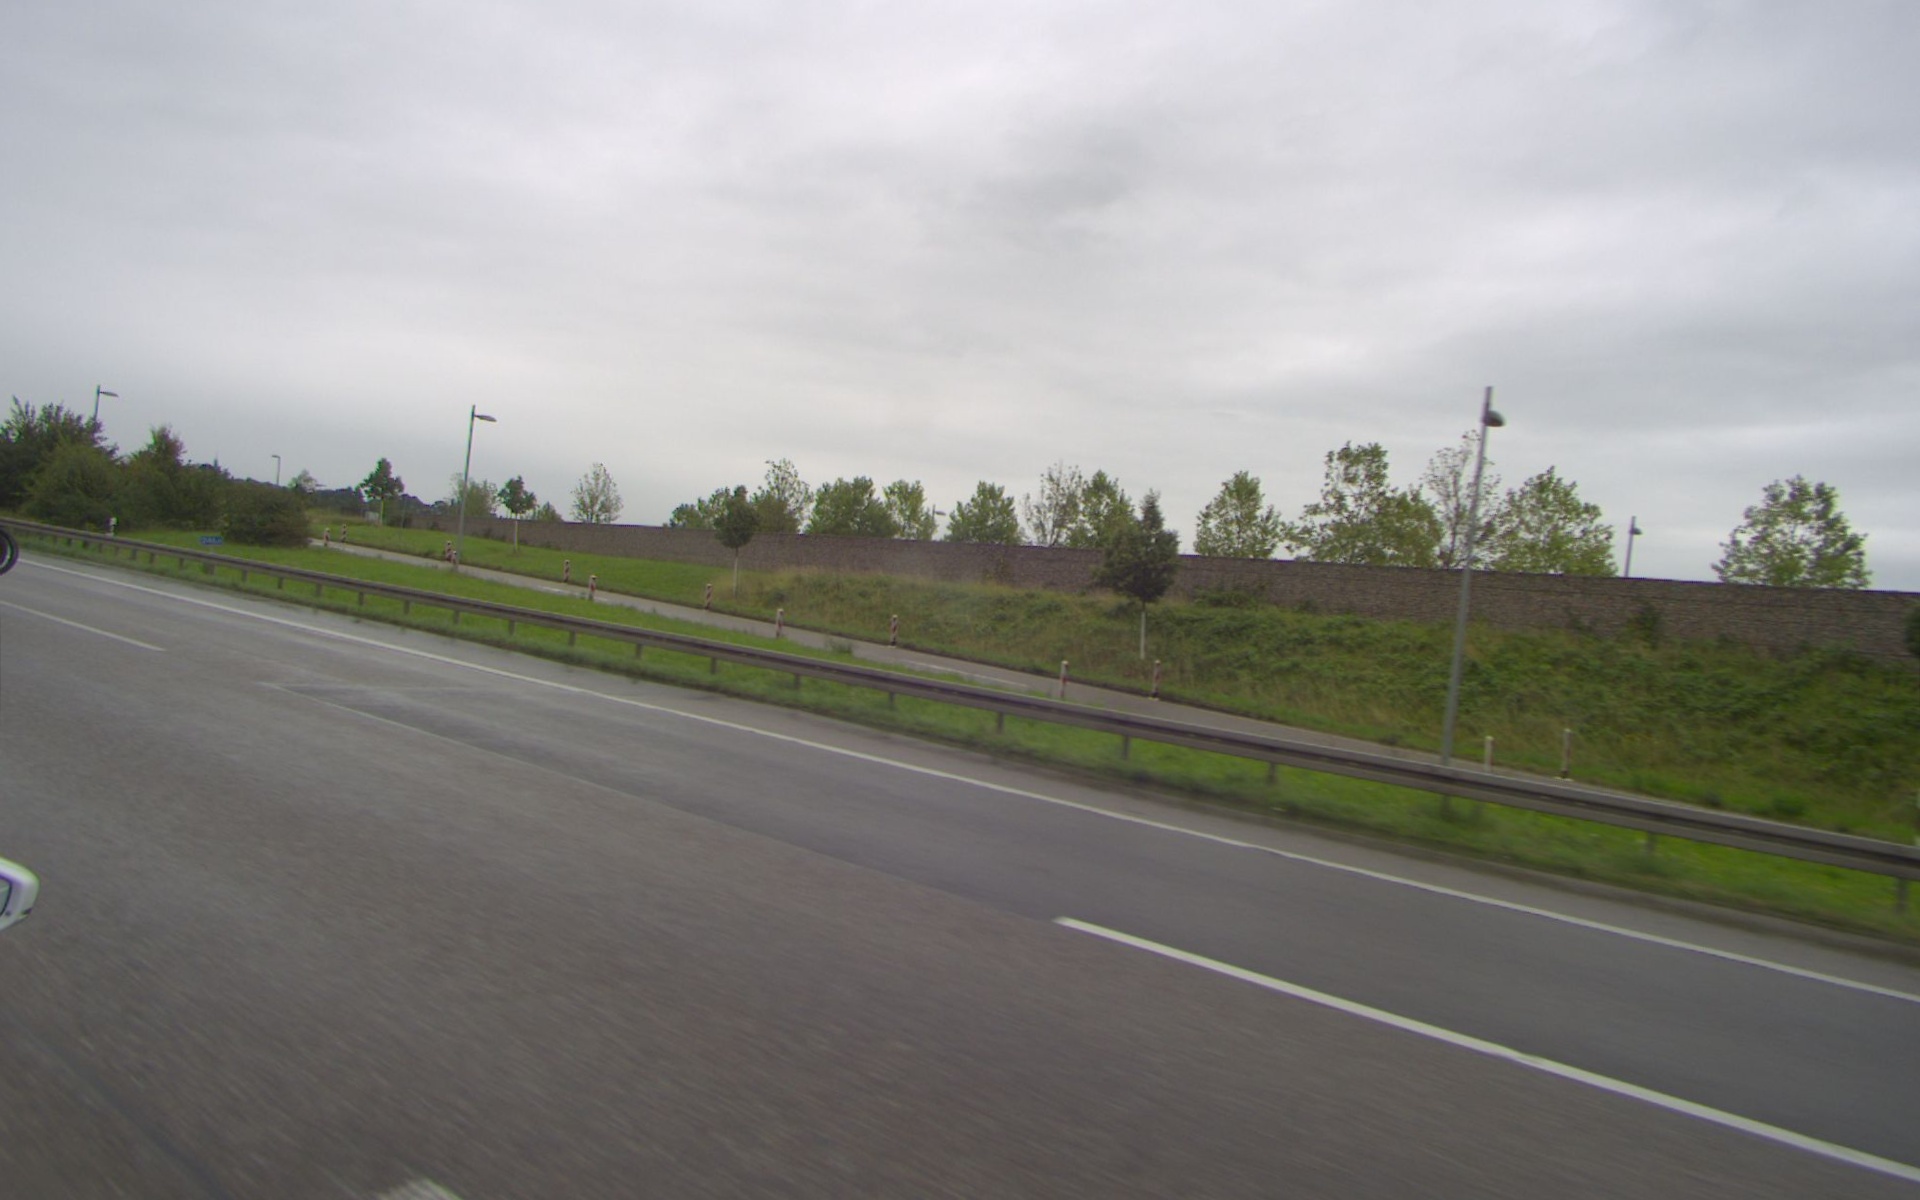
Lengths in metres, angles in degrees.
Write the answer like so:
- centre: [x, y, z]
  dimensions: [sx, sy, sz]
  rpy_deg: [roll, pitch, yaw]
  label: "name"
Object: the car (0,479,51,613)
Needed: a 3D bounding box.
- centre: [-14.992, -1.007, 13.893]
  dimensions: [5.430, 1.690, 2.062]
  rpy_deg: [6, -2, 32]
  label: "car"
